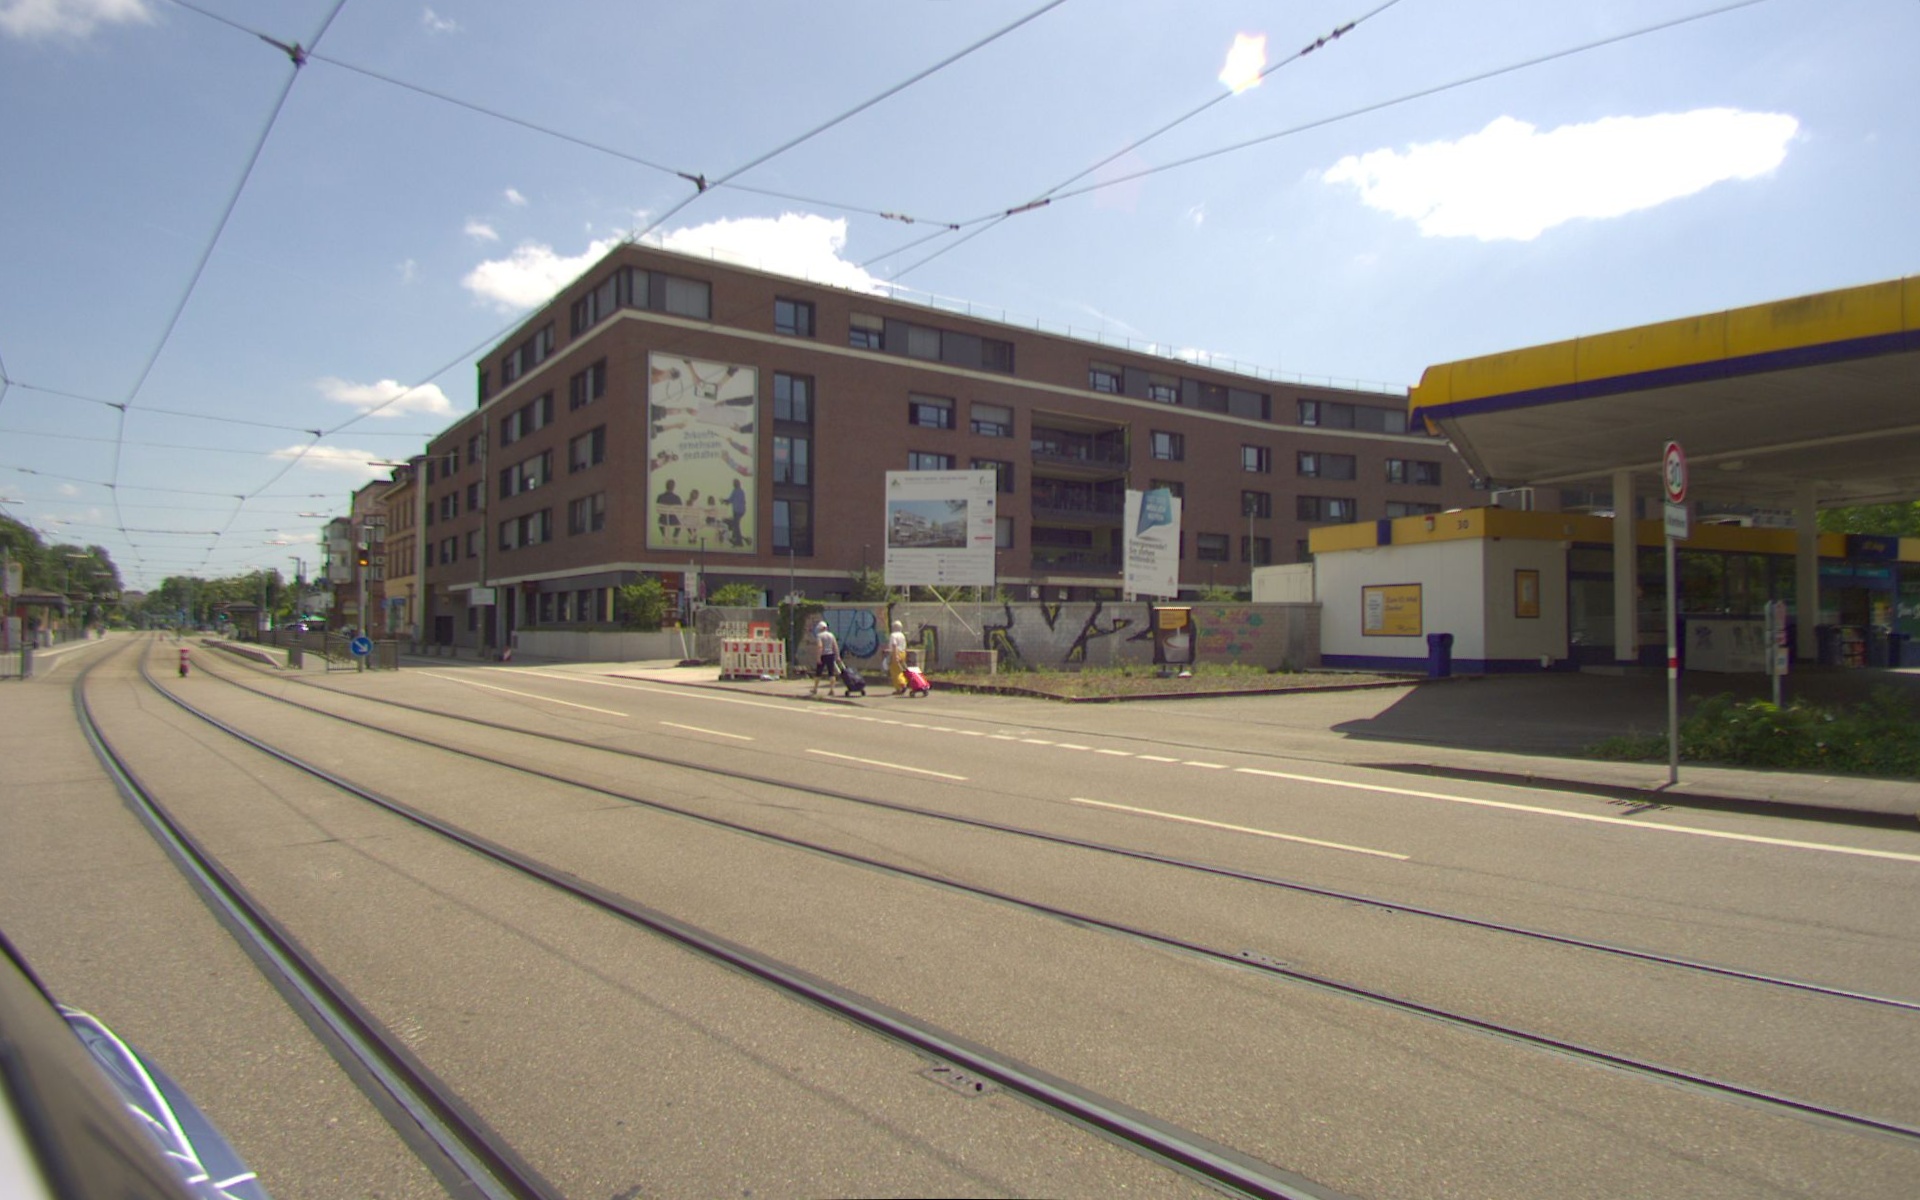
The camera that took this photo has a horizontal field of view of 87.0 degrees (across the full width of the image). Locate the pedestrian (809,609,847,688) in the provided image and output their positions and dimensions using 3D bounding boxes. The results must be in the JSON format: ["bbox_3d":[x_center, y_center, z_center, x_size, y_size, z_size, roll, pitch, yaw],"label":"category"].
[{"bbox_3d":[-2.878,1.039,22.059,0.573,1.684,0.668,1,-2,-38],"label":"pedestrian"}]

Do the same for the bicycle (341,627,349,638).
[{"bbox_3d":[-43.331,2.281,71.316,0.288,0.767,1.189,4,-3,-38],"label":"bicycle"}]

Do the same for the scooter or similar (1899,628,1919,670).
[{"bbox_3d":[25.027,1.286,26.581,0.432,1.068,0.423,3,-3,-27],"label":"scooter or similar"}]

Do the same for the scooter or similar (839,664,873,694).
[{"bbox_3d":[-2.231,1.688,21.641,0.470,0.585,0.633,1,-2,-36],"label":"scooter or similar"}]

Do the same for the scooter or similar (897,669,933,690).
[{"bbox_3d":[-0.969,1.696,21.610,0.467,0.397,0.674,1,-2,-39],"label":"scooter or similar"}]

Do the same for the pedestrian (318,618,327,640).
[{"bbox_3d":[-61.504,2.799,97.700,0.610,2.029,0.811,1,-2,-41],"label":"pedestrian"}]

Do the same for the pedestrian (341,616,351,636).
[{"bbox_3d":[-43.281,1.857,71.327,0.430,1.395,0.537,4,-3,-39],"label":"pedestrian"}]

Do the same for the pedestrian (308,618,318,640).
[{"bbox_3d":[-62.141,2.769,97.202,0.668,2.029,0.686,0,-1,-41],"label":"pedestrian"}]

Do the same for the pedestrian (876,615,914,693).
[{"bbox_3d":[-1.426,1.172,22.227,0.546,1.670,0.674,1,-2,-39],"label":"pedestrian"}]

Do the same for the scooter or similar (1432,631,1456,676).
[{"bbox_3d":[10.157,1.119,21.224,0.400,0.937,0.327,1,-2,-44],"label":"scooter or similar"}]
